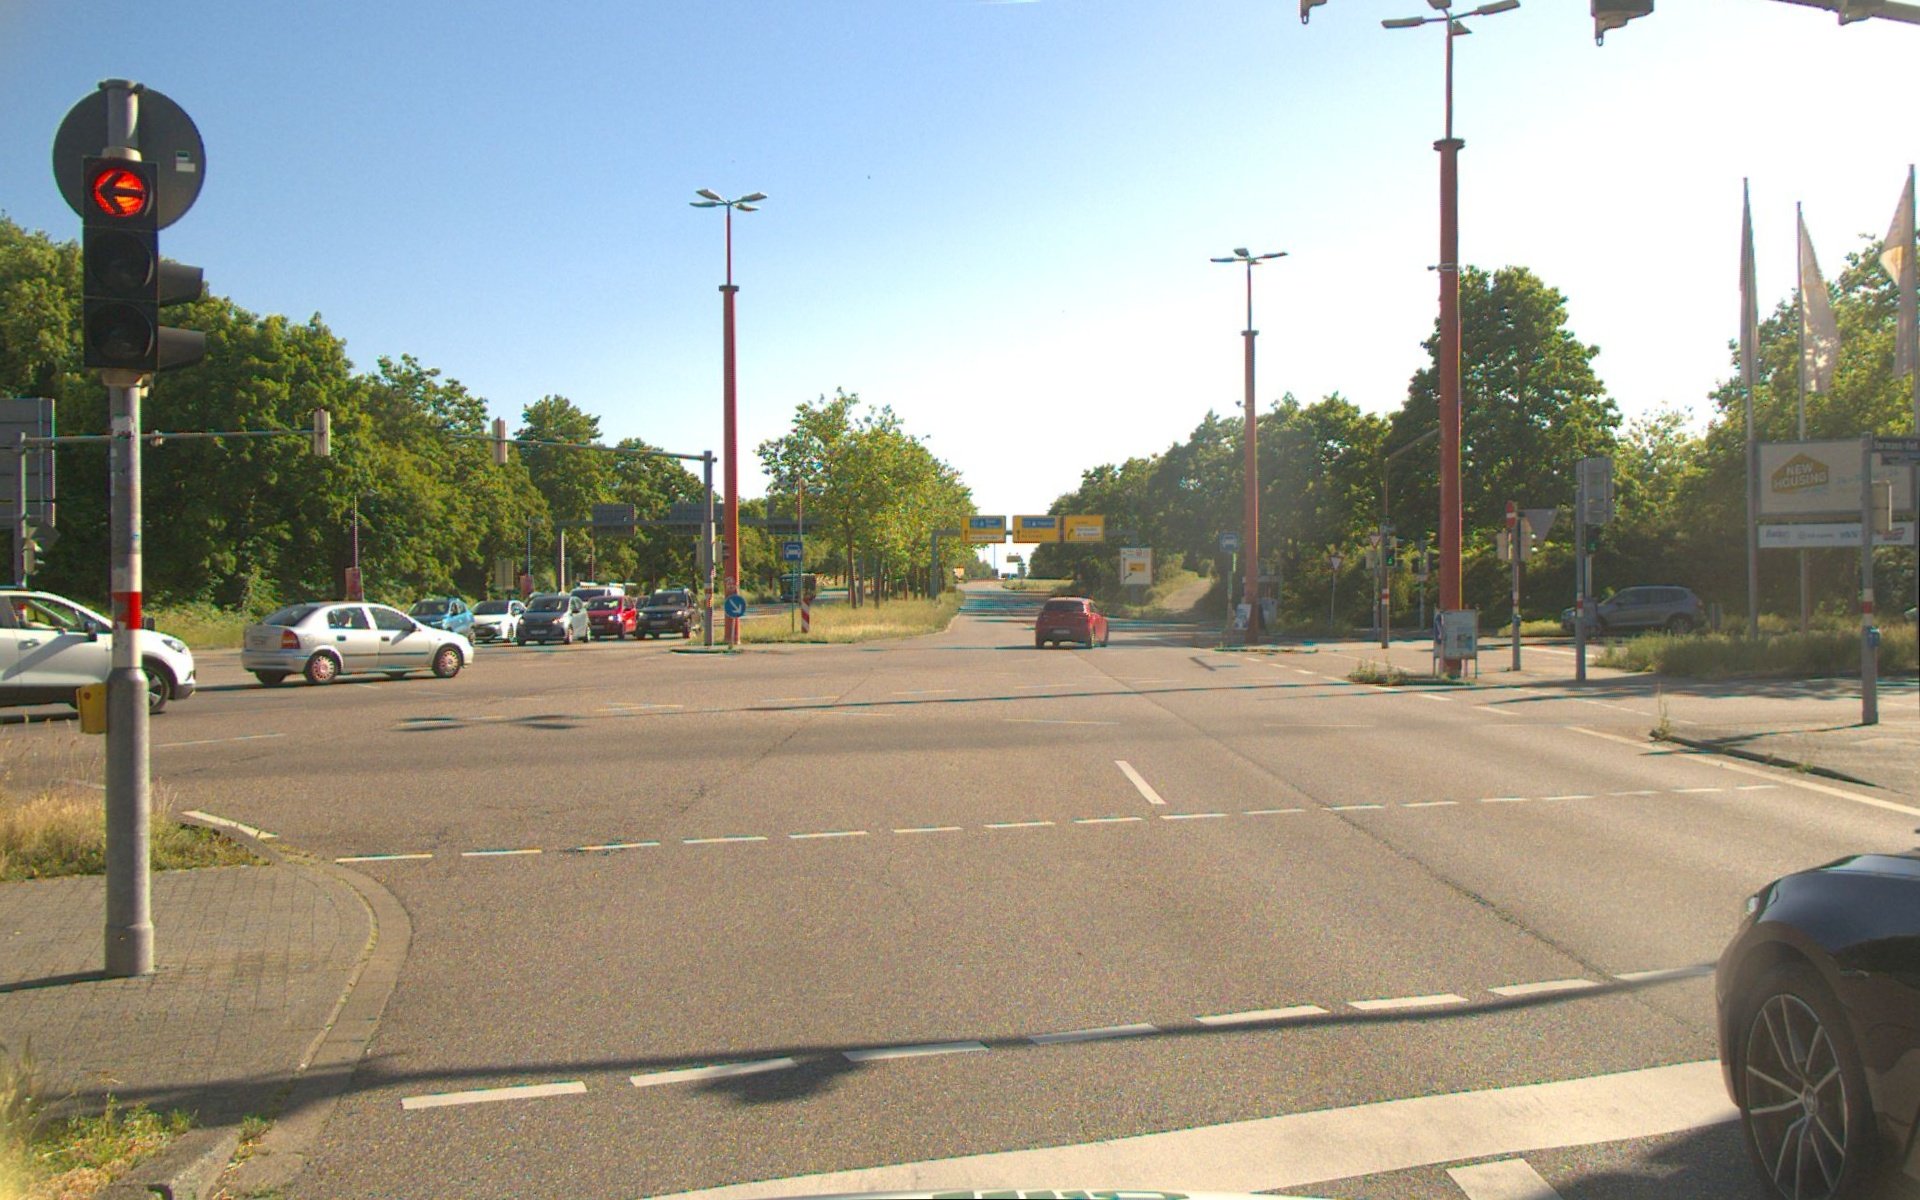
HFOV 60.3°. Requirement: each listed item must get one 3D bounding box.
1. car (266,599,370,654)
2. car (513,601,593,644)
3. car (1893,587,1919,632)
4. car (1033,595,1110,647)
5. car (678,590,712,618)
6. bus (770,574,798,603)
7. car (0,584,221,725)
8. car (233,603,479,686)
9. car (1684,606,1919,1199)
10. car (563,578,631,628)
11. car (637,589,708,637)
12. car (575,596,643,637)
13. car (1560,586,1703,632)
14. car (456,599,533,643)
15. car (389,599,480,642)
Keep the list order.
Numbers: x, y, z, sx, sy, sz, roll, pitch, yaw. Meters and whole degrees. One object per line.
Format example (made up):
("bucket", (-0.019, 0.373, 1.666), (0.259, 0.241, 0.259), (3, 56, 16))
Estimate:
("car", (-19.472, 0.774, 50.311), (1.725, 1.559, 3.934), (0, 0, -2))
("car", (-12.668, 0.668, 51.694), (1.704, 1.265, 3.611), (0, 0, -2))
("car", (33.828, 0.288, 55.809), (3.908, 1.493, 1.680), (0, 0, -10))
("car", (3.355, 0.599, 49.250), (1.644, 1.460, 4.068), (0, 0, 13))
("car", (-19.936, 0.265, 124.484), (1.953, 2.049, 3.999), (0, 0, -1))
("bus", (-21.104, -1.363, 199.176), (2.441, 3.295, 9.998), (0, 0, -1))
("car", (-11.712, 0.645, 20.635), (1.796, 1.665, 4.228), (0, 0, 41))
("car", (-10.637, 0.760, 29.383), (1.458, 1.369, 3.984), (0, -1, 36))
("car", (2.911, 0.734, 2.358), (1.831, 1.422, 4.443), (0, 0, 0))
("car", (-15.472, 0.126, 70.772), (1.855, 2.061, 5.221), (1, 0, -2))
("car", (-9.713, 0.421, 56.112), (1.782, 1.534, 3.999), (0, 0, -1))
("car", (-12.275, 0.552, 58.071), (1.704, 1.386, 3.611), (0, 0, -2))
("car", (22.641, 0.305, 55.911), (4.223, 1.511, 1.787), (0, 0, 11))
("car", (-15.926, 0.700, 56.790), (1.704, 1.436, 3.611), (0, 0, -2))
("car", (-16.049, 0.610, 50.673), (1.704, 1.265, 3.611), (0, 0, -2))
